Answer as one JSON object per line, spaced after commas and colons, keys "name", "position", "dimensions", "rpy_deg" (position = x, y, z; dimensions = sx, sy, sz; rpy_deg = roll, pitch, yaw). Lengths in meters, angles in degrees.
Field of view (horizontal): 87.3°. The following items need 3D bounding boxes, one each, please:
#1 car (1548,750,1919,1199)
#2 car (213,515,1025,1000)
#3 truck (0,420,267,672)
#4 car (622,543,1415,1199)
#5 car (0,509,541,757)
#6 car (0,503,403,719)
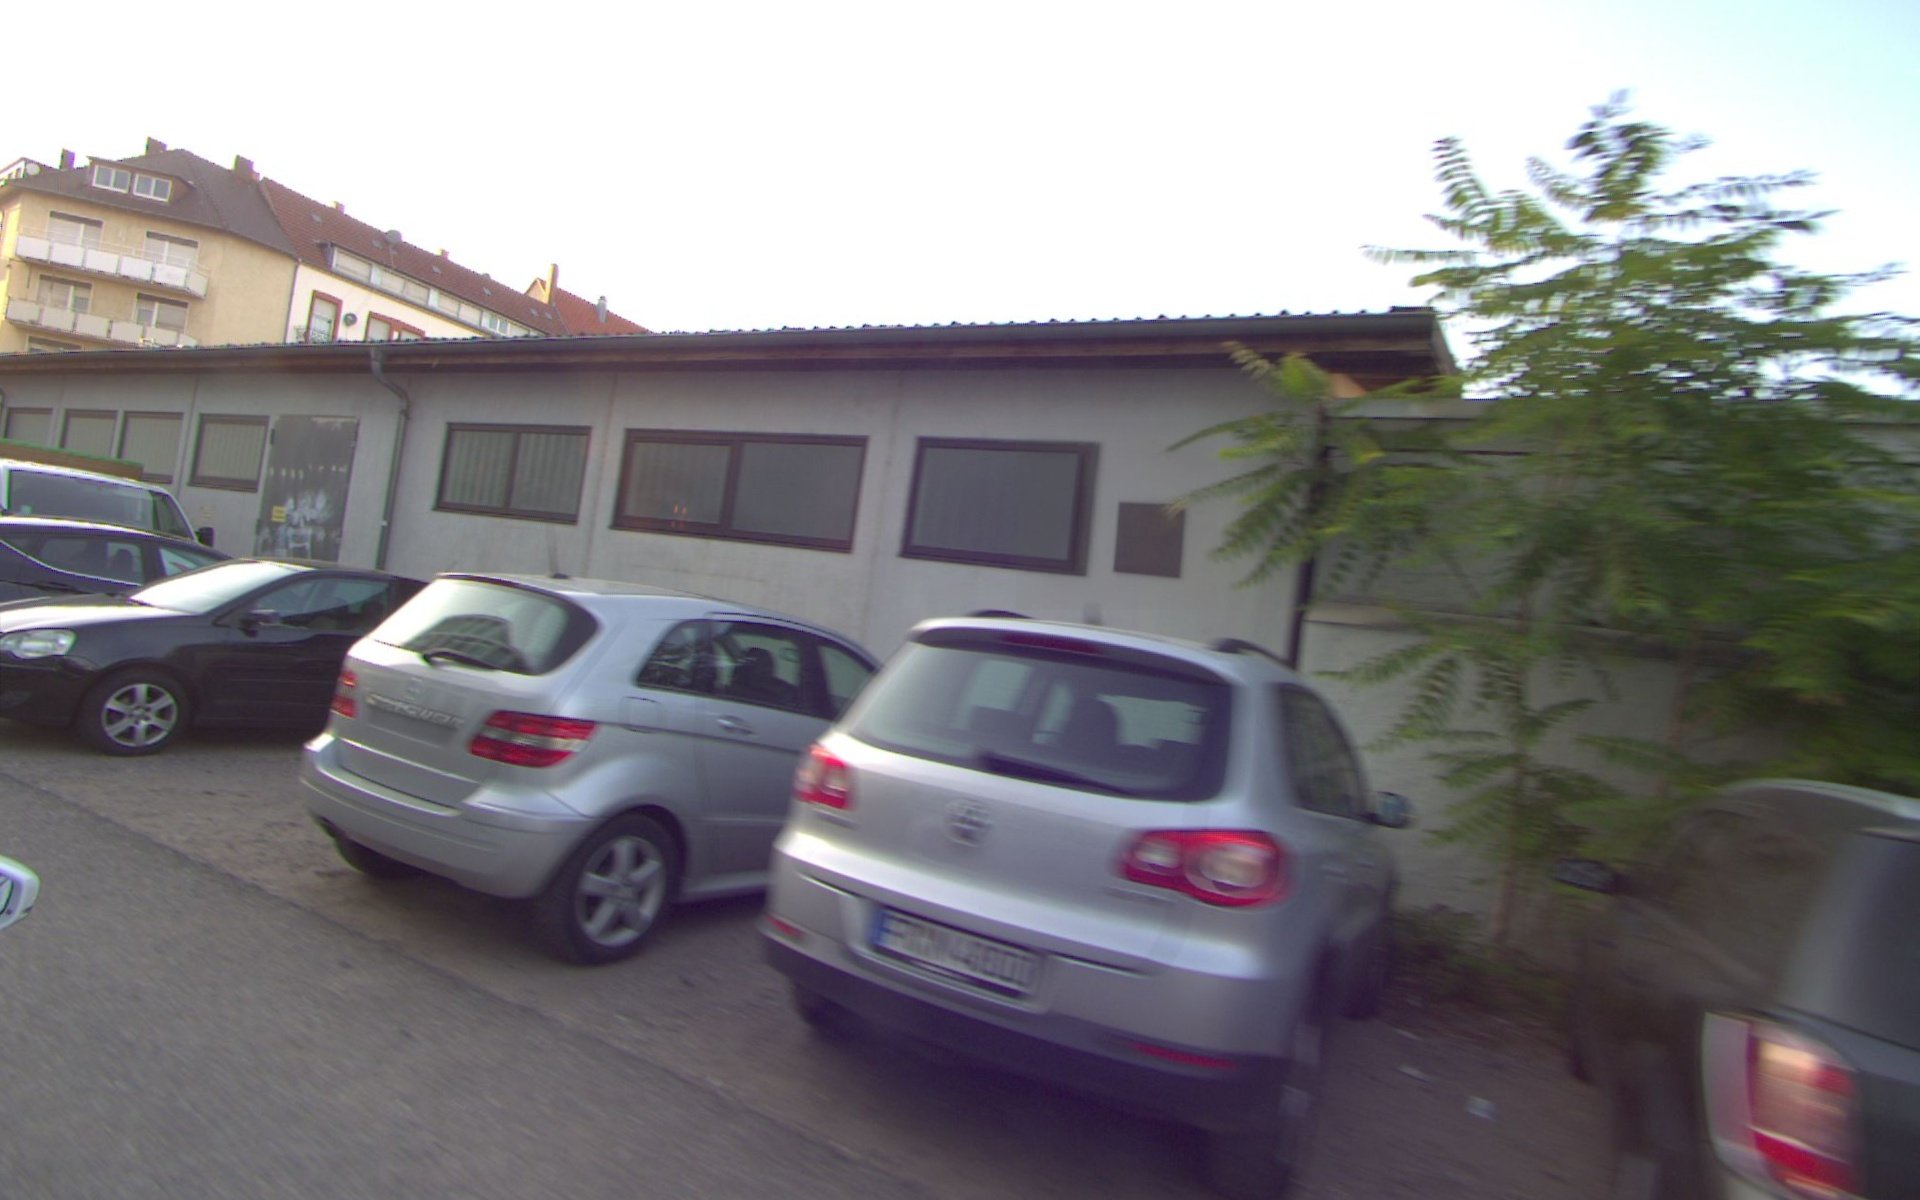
{"name": "car", "position": [2.929, 1.328, 2.993], "dimensions": [1.796, 1.460, 3.998], "rpy_deg": [6, -5, 29]}
{"name": "car", "position": [-1.453, 0.784, 5.787], "dimensions": [1.906, 1.626, 3.997], "rpy_deg": [7, -4, 30]}
{"name": "truck", "position": [-10.728, -0.706, 11.697], "dimensions": [5.616, 2.225, 2.103], "rpy_deg": [6, -3, 32]}
{"name": "car", "position": [0.792, 0.993, 4.401], "dimensions": [1.795, 1.636, 3.999], "rpy_deg": [7, -4, 28]}
{"name": "car", "position": [-5.623, 0.363, 7.985], "dimensions": [1.814, 1.459, 3.772], "rpy_deg": [6, -5, 30]}
{"name": "car", "position": [-7.628, 0.099, 9.291], "dimensions": [1.860, 1.552, 3.769], "rpy_deg": [8, -4, 33]}
